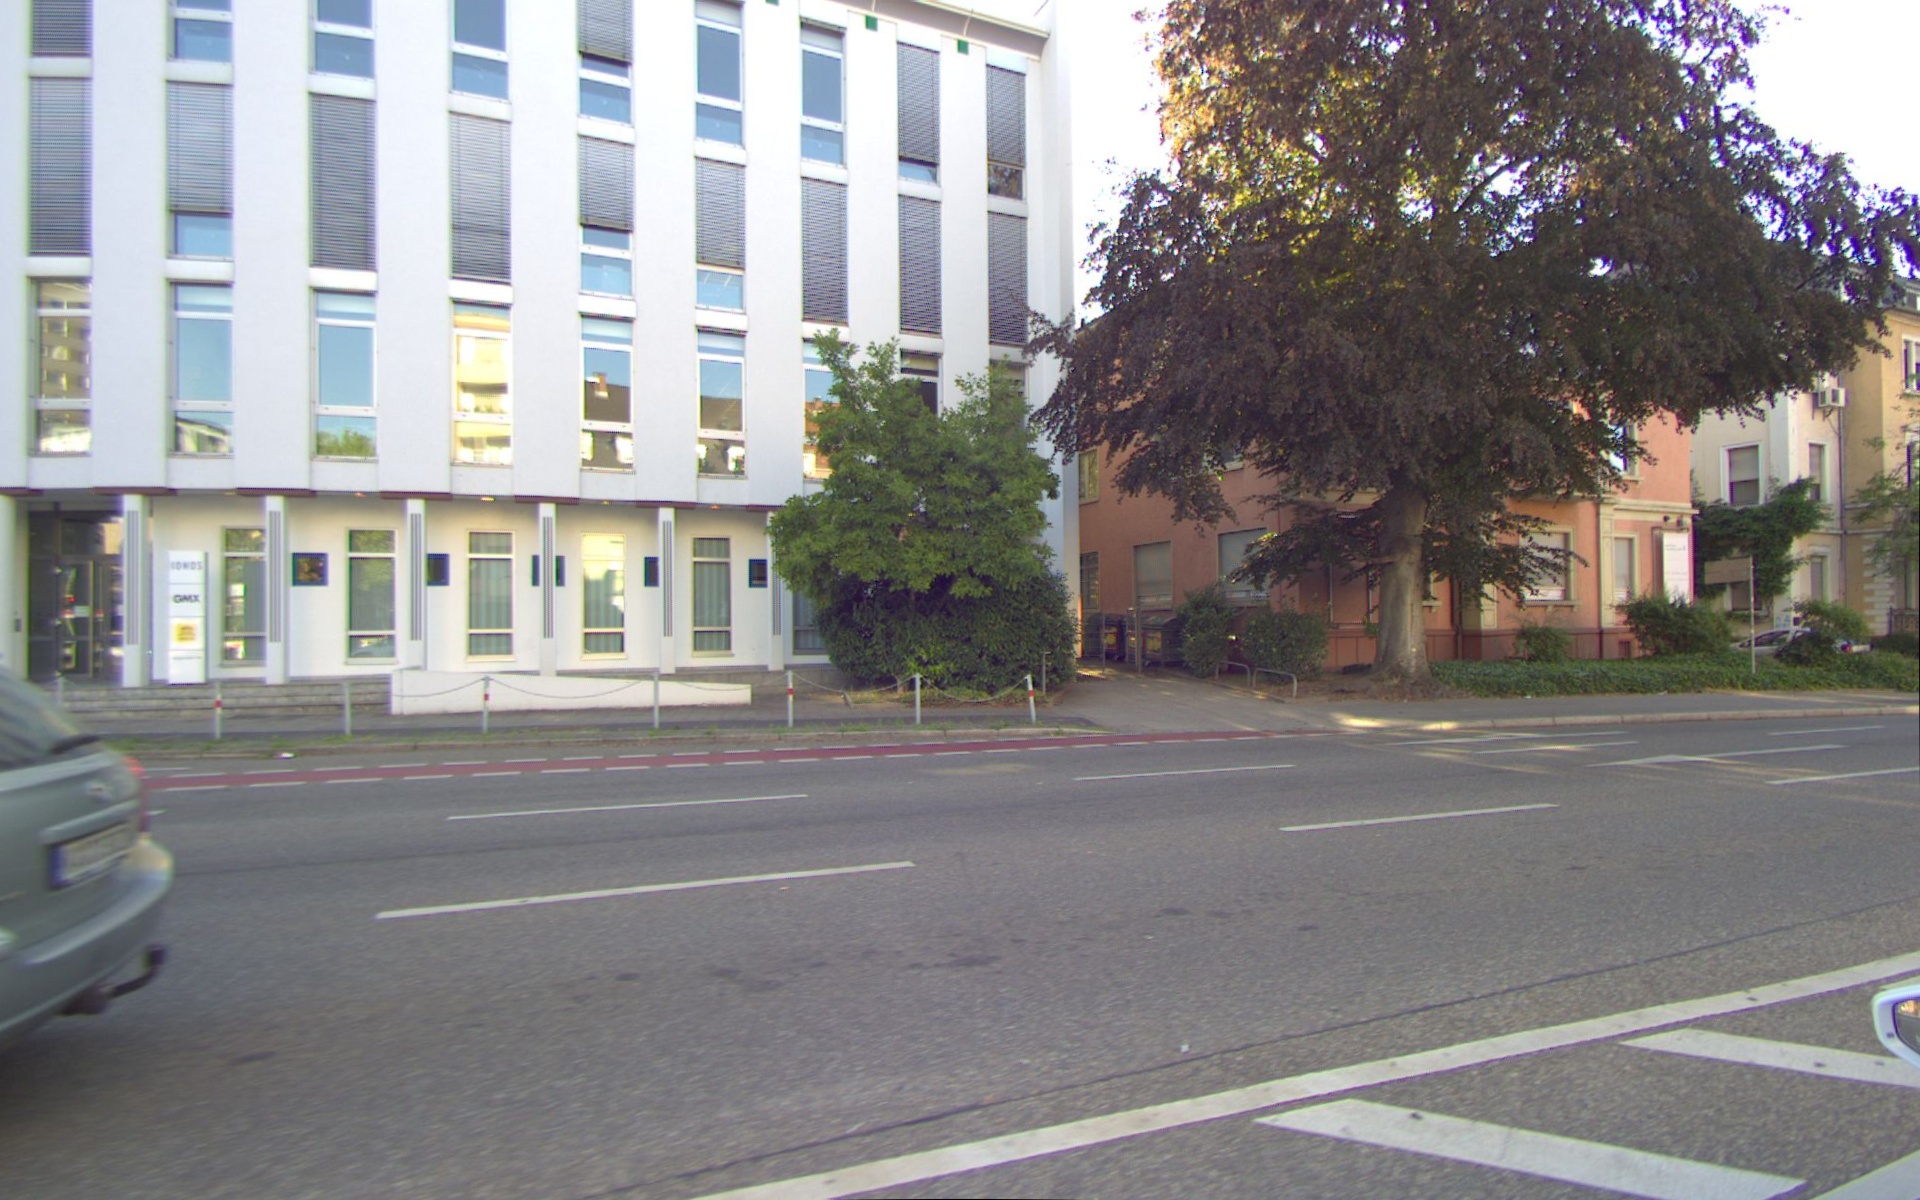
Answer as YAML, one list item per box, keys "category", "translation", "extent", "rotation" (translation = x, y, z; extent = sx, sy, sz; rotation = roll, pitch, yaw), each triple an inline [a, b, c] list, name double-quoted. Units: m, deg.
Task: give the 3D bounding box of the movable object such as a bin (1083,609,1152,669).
- category: "movable object such as a bin"
  translation: [4.581, 1.121, 29.285]
  extent: [1.435, 1.673, 1.501]
  rotation: [0, -1, -21]

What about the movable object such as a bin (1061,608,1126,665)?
- category: "movable object such as a bin"
  translation: [4.083, 1.106, 30.845]
  extent: [1.435, 1.673, 1.501]
  rotation: [0, -1, -21]

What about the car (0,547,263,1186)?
- category: "car"
  translation: [-4.654, 0.669, 2.447]
  extent: [4.537, 1.534, 1.824]
  rotation: [0, -1, -22]

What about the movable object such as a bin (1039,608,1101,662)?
- category: "movable object such as a bin"
  translation: [3.526, 1.104, 32.315]
  extent: [1.435, 1.673, 1.501]
  rotation: [0, -1, -21]

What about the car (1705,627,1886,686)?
- category: "car"
  translation: [23.328, 1.539, 28.181]
  extent: [1.792, 1.505, 3.484]
  rotation: [0, -1, -27]

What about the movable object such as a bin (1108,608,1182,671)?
- category: "movable object such as a bin"
  translation: [5.098, 1.079, 27.795]
  extent: [1.435, 1.673, 1.501]
  rotation: [0, -1, -21]
